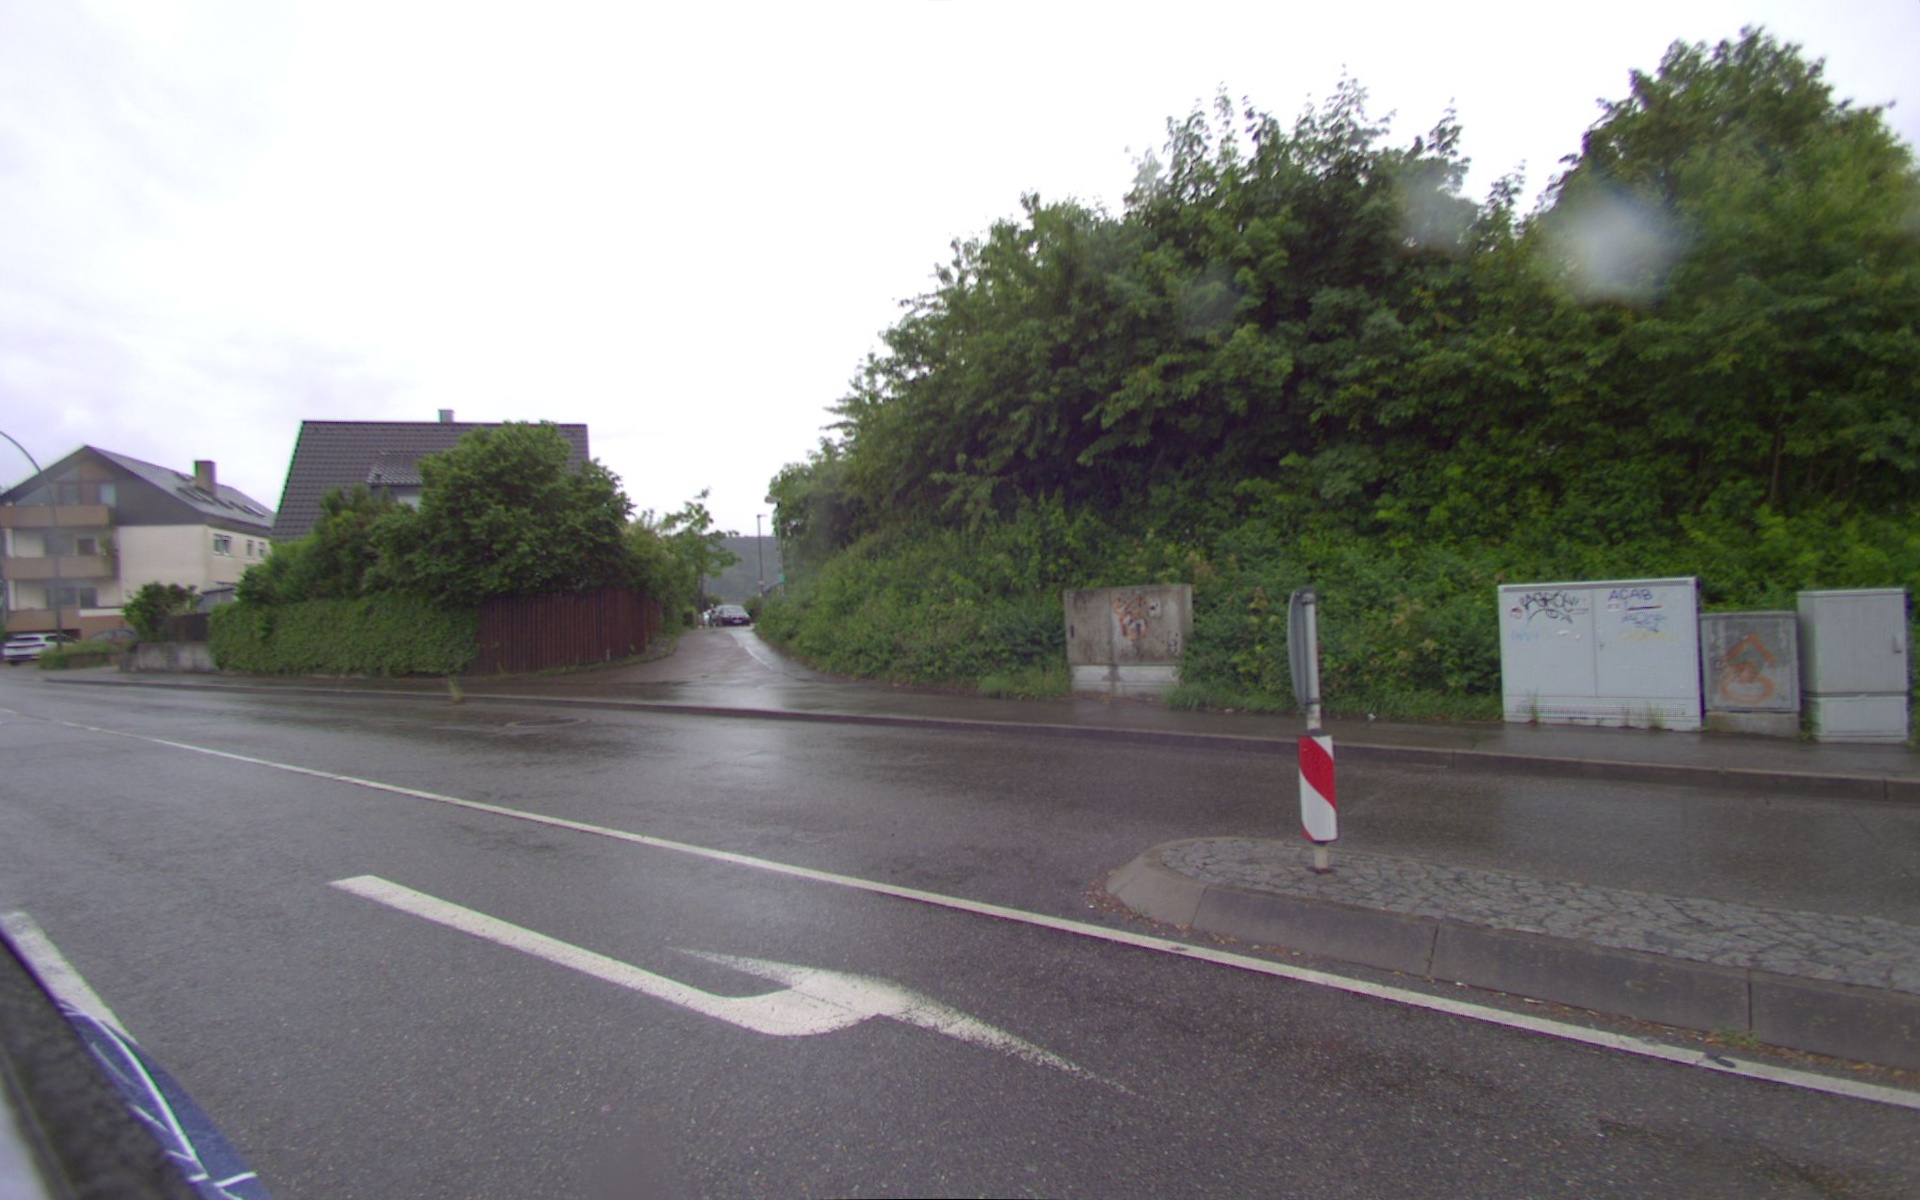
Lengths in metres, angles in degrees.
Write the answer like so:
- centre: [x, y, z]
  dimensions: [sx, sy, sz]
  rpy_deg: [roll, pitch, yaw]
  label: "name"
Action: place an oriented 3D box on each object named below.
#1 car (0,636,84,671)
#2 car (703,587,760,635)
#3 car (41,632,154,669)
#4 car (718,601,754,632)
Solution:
- centre: [-45.681, 2.627, 50.247]
  dimensions: [1.837, 1.530, 4.012]
  rpy_deg: [-2, 0, -17]
  label: "car"
- centre: [-8.134, 0.391, 36.271]
  dimensions: [1.683, 1.600, 3.668]
  rpy_deg: [-1, 0, -8]
  label: "car"
- centre: [-40.598, 2.343, 47.719]
  dimensions: [3.609, 1.530, 1.759]
  rpy_deg: [-2, 0, -15]
  label: "car"
- centre: [-14.456, 1.033, 65.411]
  dimensions: [1.968, 1.873, 4.007]
  rpy_deg: [-2, 0, -9]
  label: "car"
